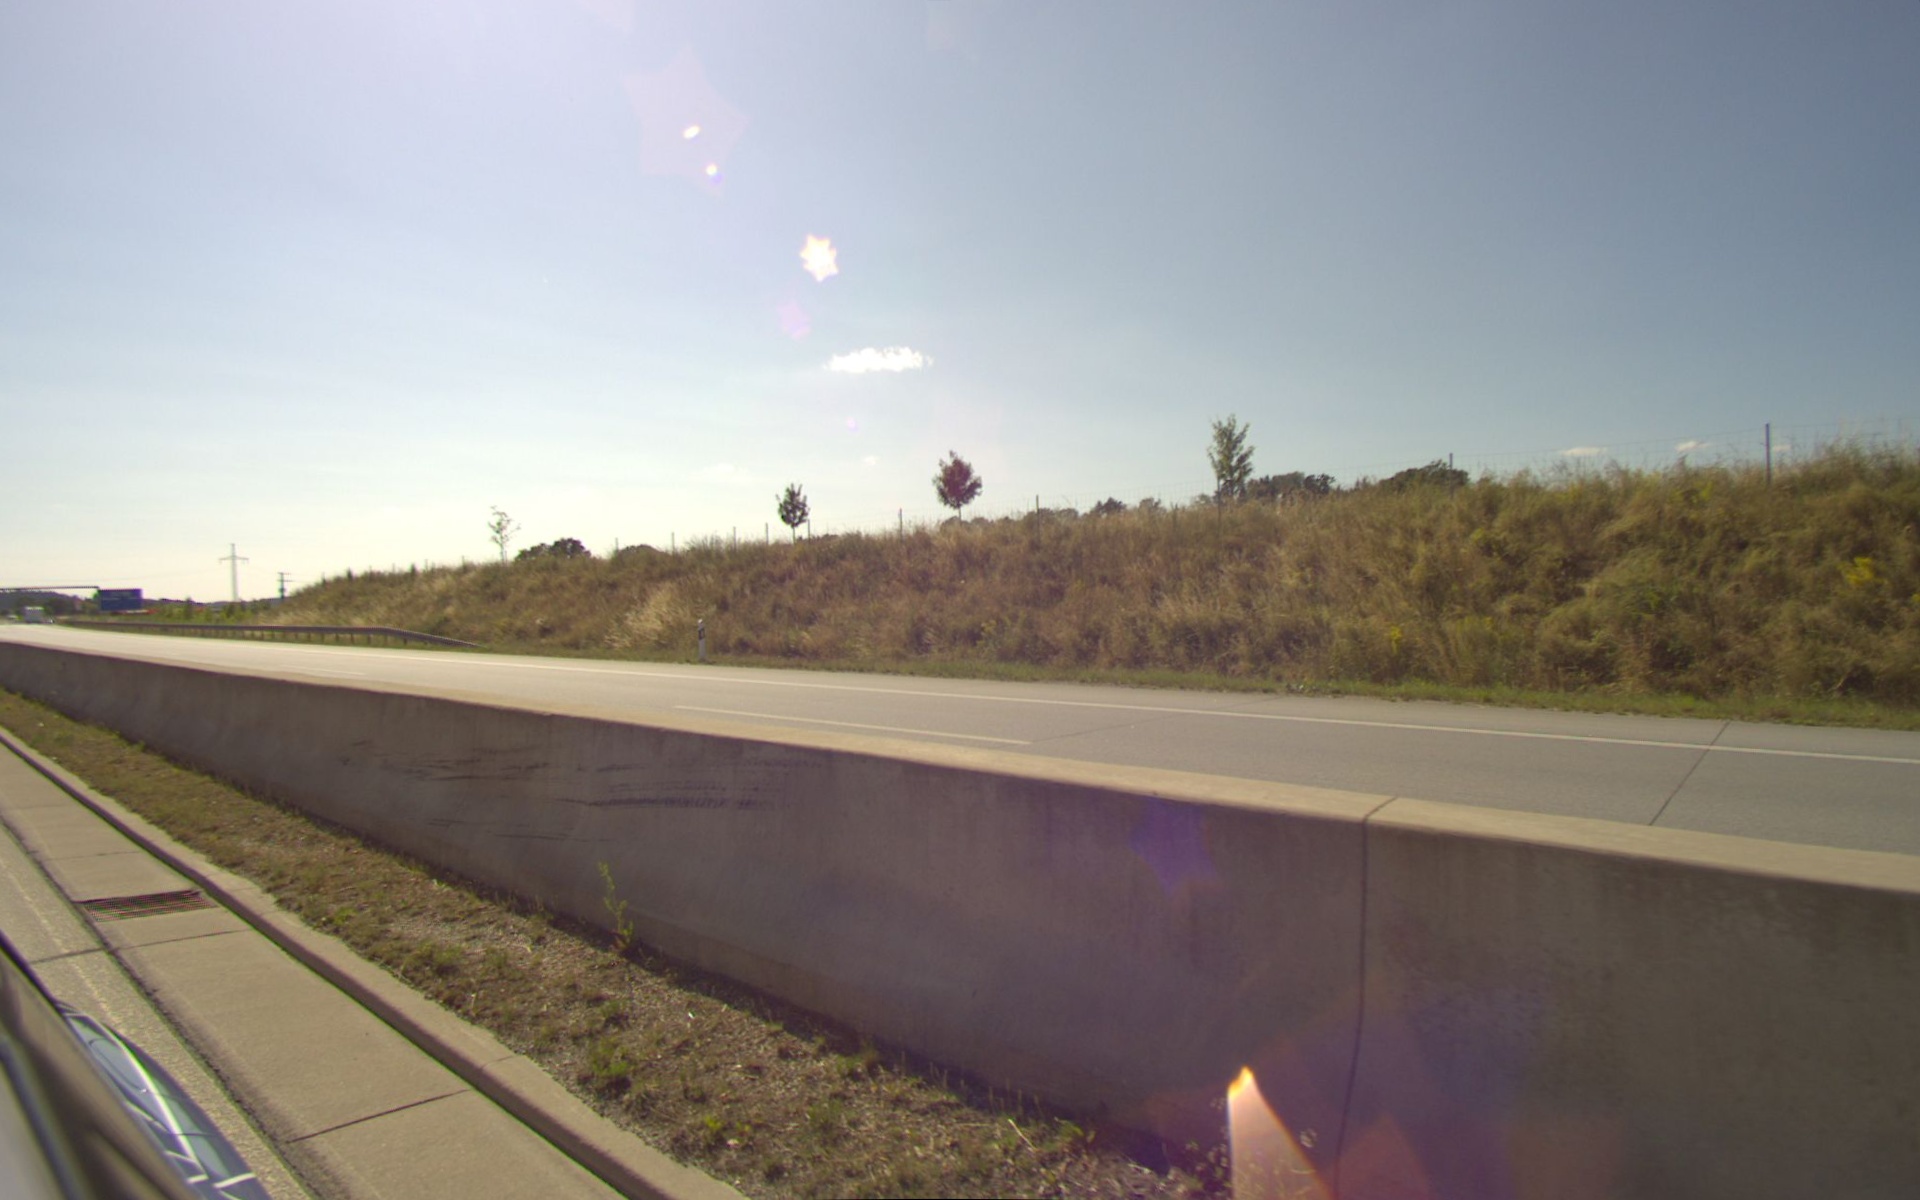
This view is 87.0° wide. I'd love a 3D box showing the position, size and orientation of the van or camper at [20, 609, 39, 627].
[{"bbox_3d":[-174.048,3.377,189.321,2.560,3.104,7.444,-1,0,-43],"label":"van or camper"}]
